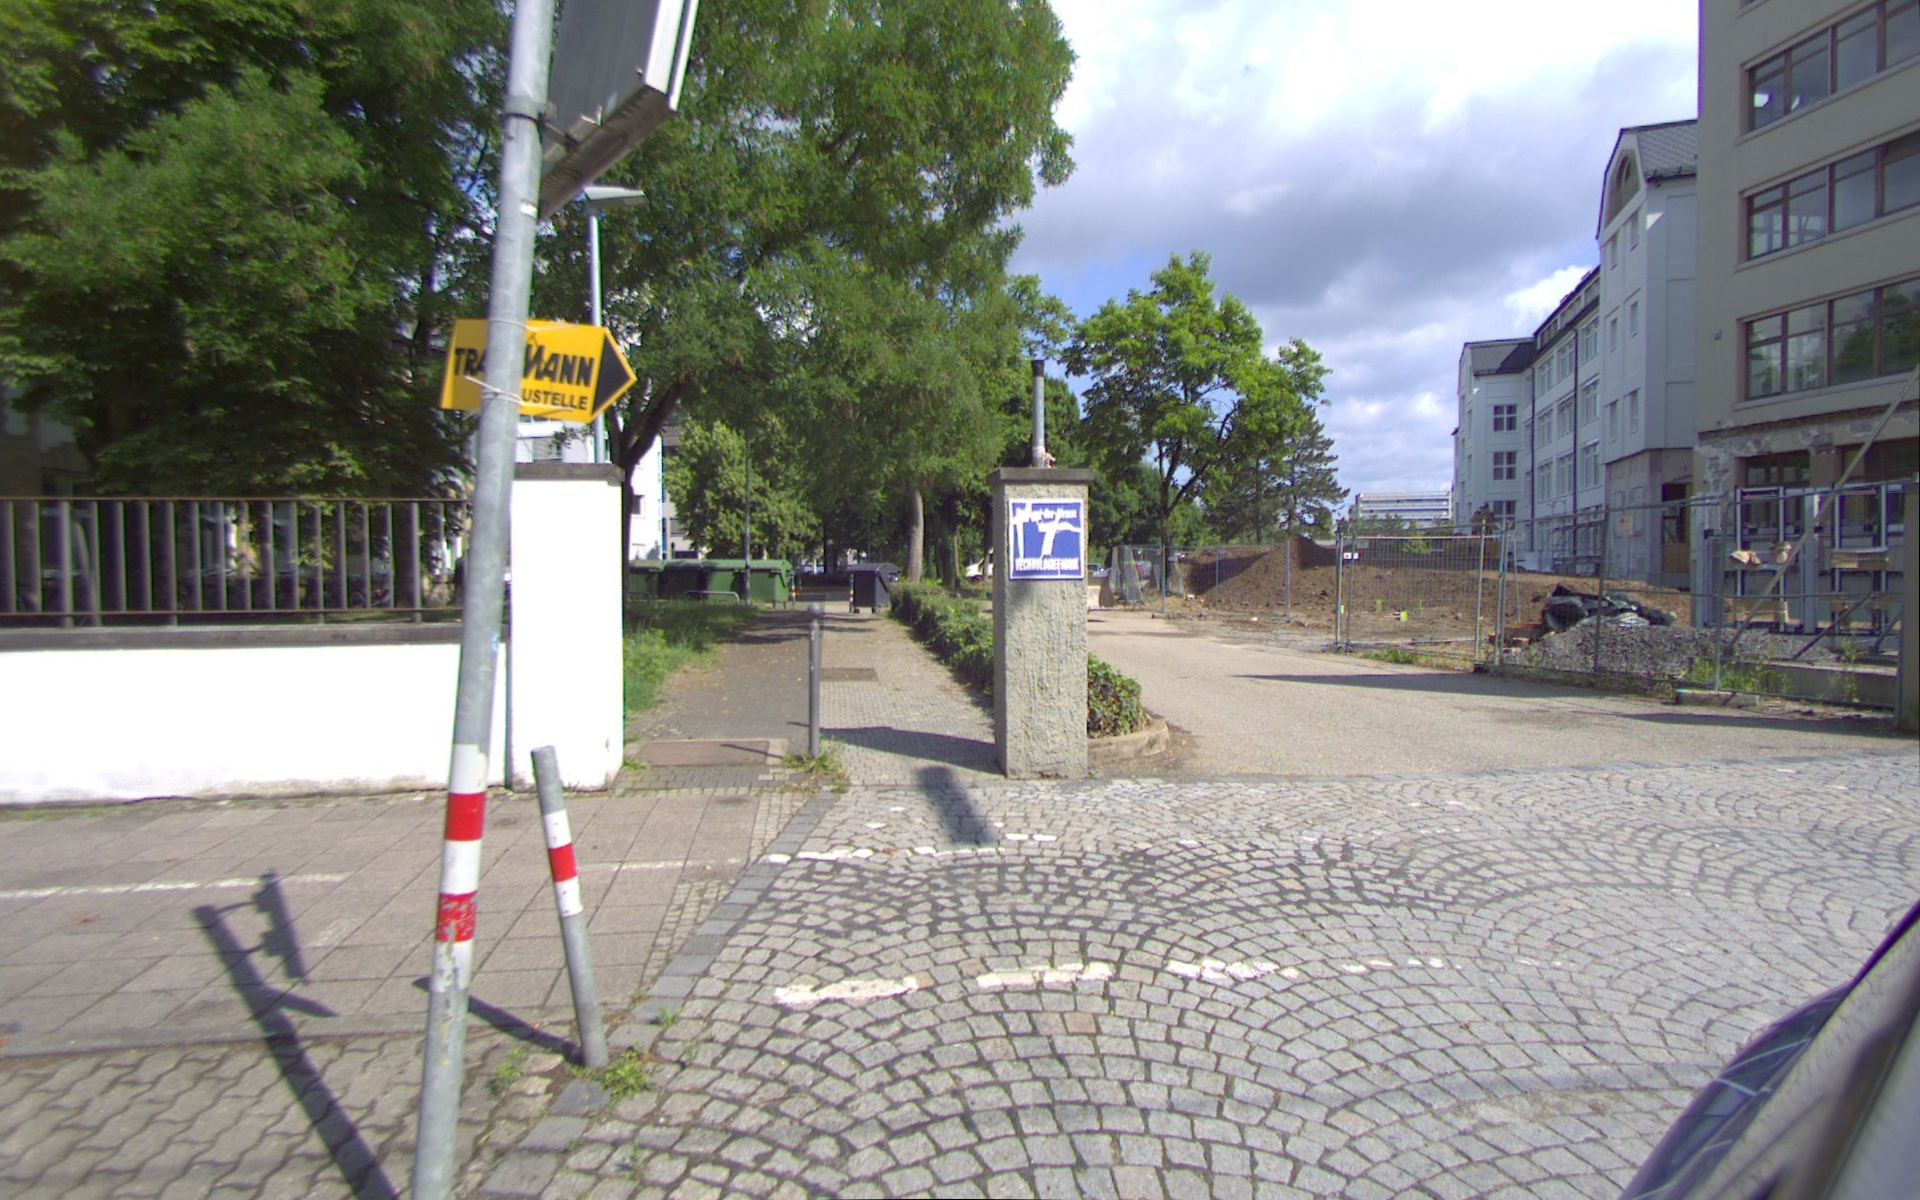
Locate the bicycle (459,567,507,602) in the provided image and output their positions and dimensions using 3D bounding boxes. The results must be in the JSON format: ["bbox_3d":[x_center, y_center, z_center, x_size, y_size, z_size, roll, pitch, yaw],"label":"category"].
[{"bbox_3d":[-14.387,-0.472,30.510,1.440,1.000,0.424,1,1,20],"label":"bicycle"}]

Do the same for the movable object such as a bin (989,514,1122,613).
[{"bbox_3d":[2.528,-1.092,28.489,1.958,2.473,5.447,1,3,-14],"label":"movable object such as a bin"}]

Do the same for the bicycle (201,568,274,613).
[{"bbox_3d":[-16.877,-0.233,23.628,1.797,1.000,0.425,1,1,19],"label":"bicycle"}]

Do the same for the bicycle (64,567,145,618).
[{"bbox_3d":[-17.781,-0.162,21.032,1.797,1.000,0.425,1,1,19],"label":"bicycle"}]

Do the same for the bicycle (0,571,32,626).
[{"bbox_3d":[-18.350,-0.054,19.102,1.797,1.000,0.425,1,1,19],"label":"bicycle"}]

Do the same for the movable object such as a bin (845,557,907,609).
[{"bbox_3d":[-2.333,-0.499,28.131,1.317,1.373,1.115,2,3,38],"label":"movable object such as a bin"}]

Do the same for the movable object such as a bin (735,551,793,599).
[{"bbox_3d":[-5.775,-0.762,29.852,1.348,1.369,1.089,1,3,16],"label":"movable object such as a bin"}]

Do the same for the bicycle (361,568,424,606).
[{"bbox_3d":[-15.614,-0.355,27.832,1.797,1.000,0.425,1,1,19],"label":"bicycle"}]

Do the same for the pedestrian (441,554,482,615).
[{"bbox_3d":[-13.526,-0.429,27.494,0.562,1.643,0.854,0,2,15],"label":"pedestrian"}]

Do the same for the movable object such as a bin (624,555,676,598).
[{"bbox_3d":[-9.557,-0.736,31.235,1.174,1.309,0.999,1,3,16],"label":"movable object such as a bin"}]

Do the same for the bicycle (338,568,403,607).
[{"bbox_3d":[-15.804,-0.340,27.138,1.797,1.000,0.425,1,1,19],"label":"bicycle"}]

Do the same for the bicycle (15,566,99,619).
[{"bbox_3d":[-18.119,-0.161,20.301,1.797,1.000,0.425,1,1,19],"label":"bicycle"}]

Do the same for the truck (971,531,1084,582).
[{"bbox_3d":[3.906,-2.538,58.725,6.442,2.810,1.999,0,4,6],"label":"truck"}]

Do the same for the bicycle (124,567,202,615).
[{"bbox_3d":[-17.399,-0.204,22.090,1.797,1.000,0.425,1,1,19],"label":"bicycle"}]

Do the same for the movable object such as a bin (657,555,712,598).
[{"bbox_3d":[-8.342,-0.728,30.690,1.256,1.235,1.024,1,3,16],"label":"movable object such as a bin"}]

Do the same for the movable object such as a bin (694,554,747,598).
[{"bbox_3d":[-7.153,-0.728,30.246,1.238,1.281,0.995,1,3,16],"label":"movable object such as a bin"}]

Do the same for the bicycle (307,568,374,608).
[{"bbox_3d":[-16.038,-0.316,26.184,1.797,1.000,0.425,1,1,19],"label":"bicycle"}]

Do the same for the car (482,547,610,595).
[{"bbox_3d":[-17.252,-1.259,42.478,2.017,1.885,5.054,2,3,23],"label":"car"}]

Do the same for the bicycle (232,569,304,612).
[{"bbox_3d":[-16.646,-0.242,24.333,1.797,1.000,0.425,1,1,19],"label":"bicycle"}]

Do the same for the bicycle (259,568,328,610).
[{"bbox_3d":[-16.502,-0.278,25.058,1.797,1.000,0.425,1,1,19],"label":"bicycle"}]

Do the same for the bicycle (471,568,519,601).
[{"bbox_3d":[-14.286,-0.484,31.084,1.439,1.000,0.425,1,1,19],"label":"bicycle"}]

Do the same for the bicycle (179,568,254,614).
[{"bbox_3d":[-16.959,-0.219,23.091,1.797,1.000,0.425,1,1,19],"label":"bicycle"}]
